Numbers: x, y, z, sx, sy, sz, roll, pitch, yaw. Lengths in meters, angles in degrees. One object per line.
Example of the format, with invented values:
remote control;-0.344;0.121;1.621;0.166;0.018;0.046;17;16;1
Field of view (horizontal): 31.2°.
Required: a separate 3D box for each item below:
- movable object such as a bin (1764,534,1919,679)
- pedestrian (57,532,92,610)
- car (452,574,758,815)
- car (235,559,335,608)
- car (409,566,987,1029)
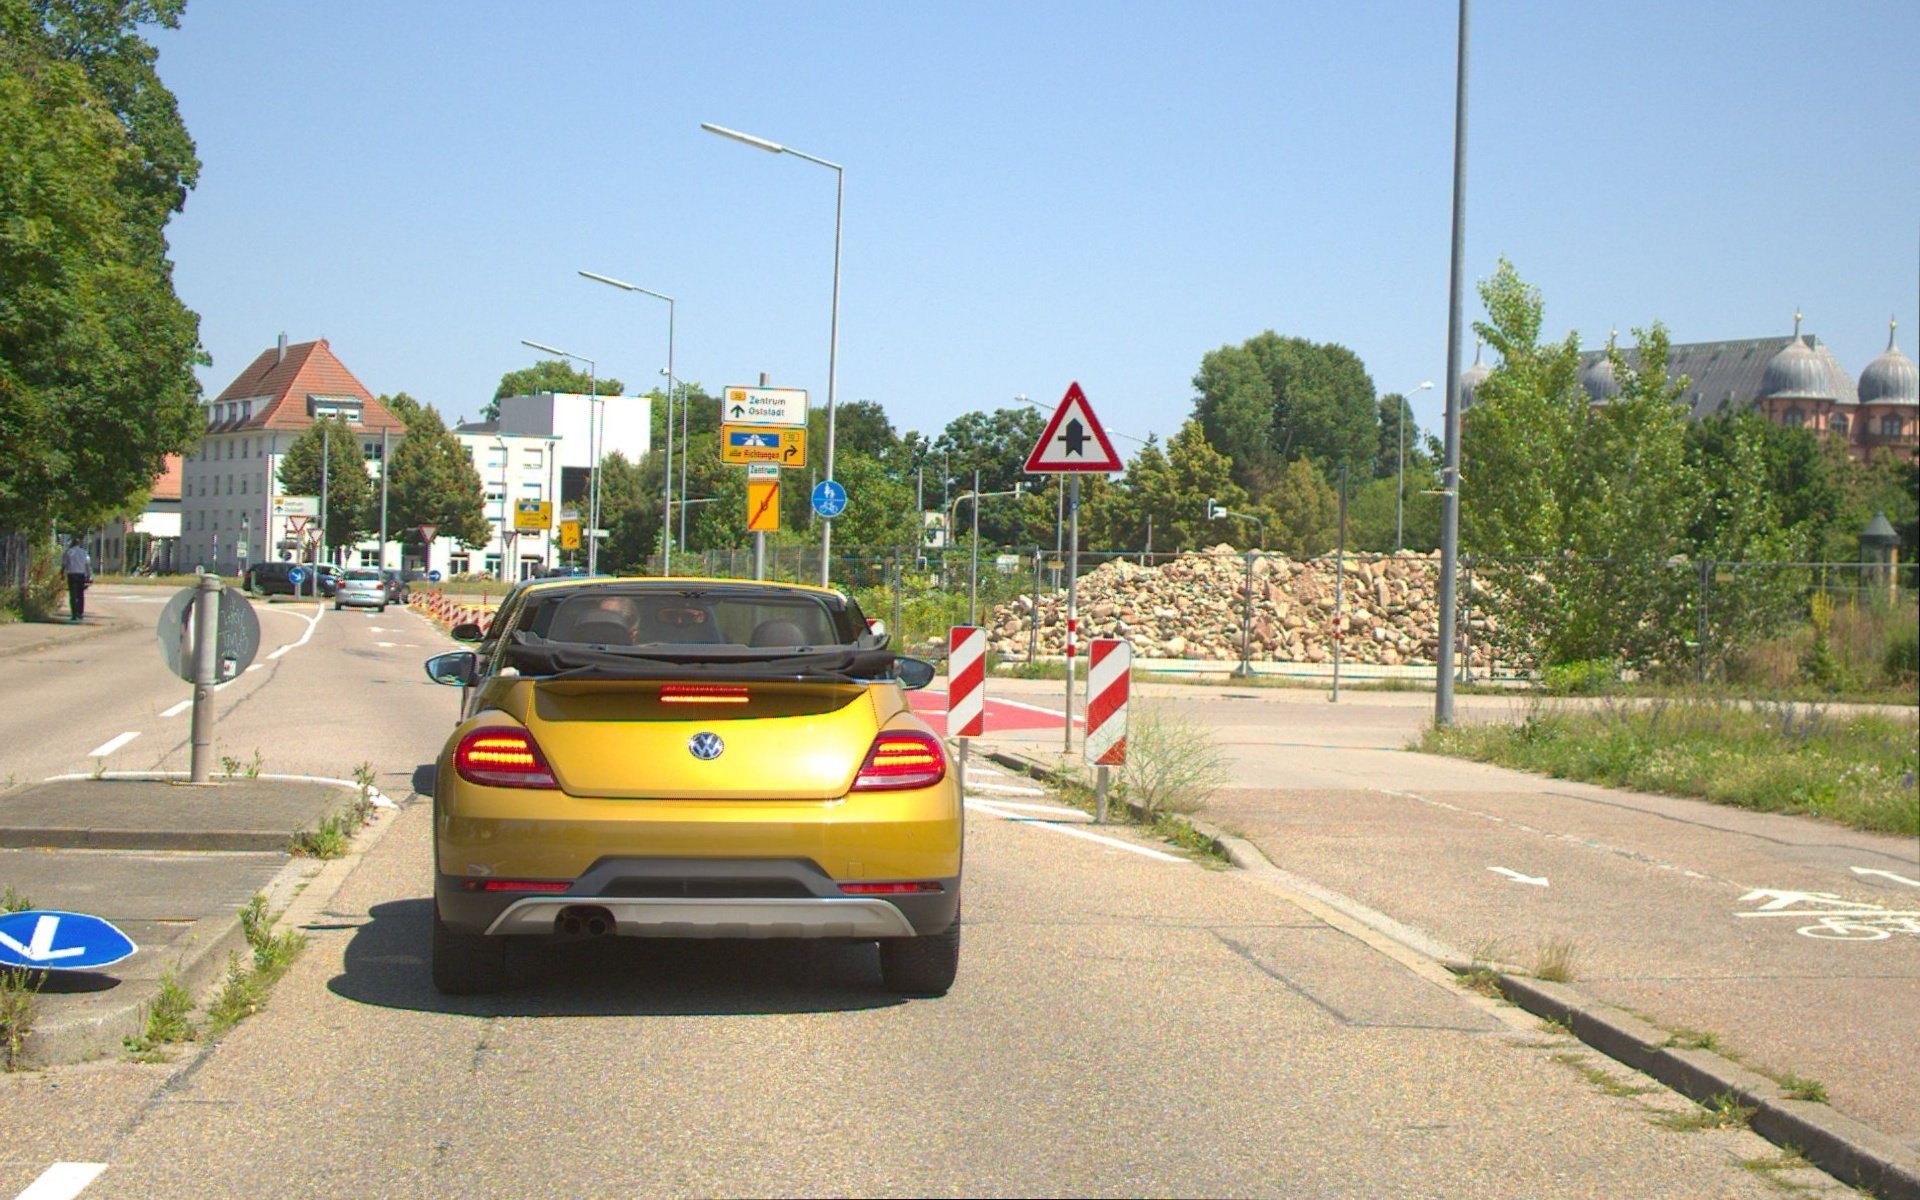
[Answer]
movable object such as a bin;23.424;0.200;80.495;4.937;3.249;10.472;2;0;-12
pedestrian;-19.815;-0.650;76.928;0.722;1.719;0.818;2;0;-14
car;-2.448;0.570;22.942;1.726;1.438;4.001;2;0;-10
car;-29.471;-0.719;150.204;3.986;2.007;2.000;1;0;-2
car;-1.042;0.614;12.791;1.789;1.432;3.814;2;0;-7
